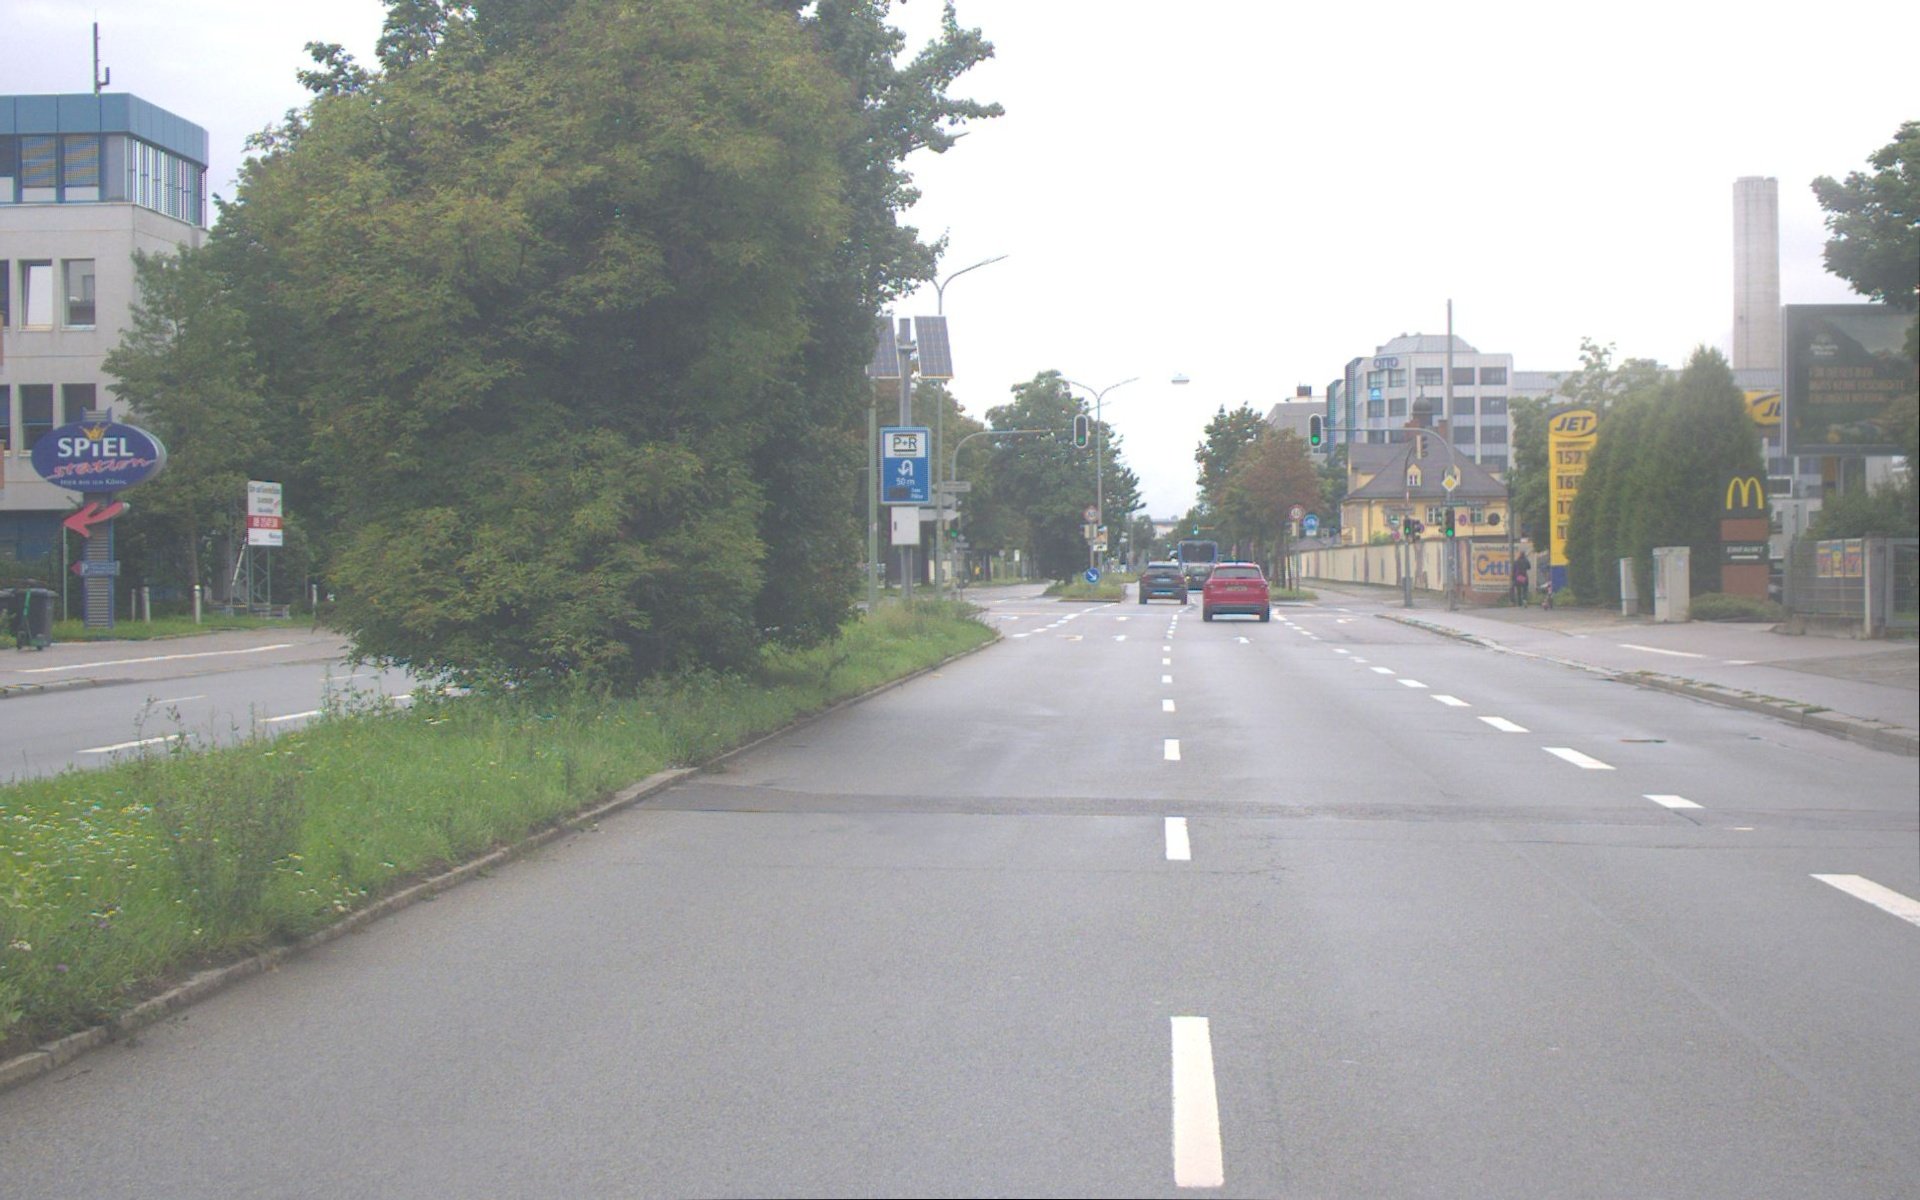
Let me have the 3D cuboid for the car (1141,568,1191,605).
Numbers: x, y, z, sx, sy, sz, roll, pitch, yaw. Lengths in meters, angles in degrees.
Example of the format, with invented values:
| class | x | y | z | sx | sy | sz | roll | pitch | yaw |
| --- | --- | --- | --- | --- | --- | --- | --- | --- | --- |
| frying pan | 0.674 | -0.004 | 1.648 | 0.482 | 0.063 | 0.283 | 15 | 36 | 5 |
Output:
| class | x | y | z | sx | sy | sz | roll | pitch | yaw |
| --- | --- | --- | --- | --- | --- | --- | --- | --- | --- |
| car | 8.076 | -0.541 | 135.033 | 1.803 | 1.428 | 4.000 | -1 | 1 | 2 |

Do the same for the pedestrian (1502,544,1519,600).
| class | x | y | z | sx | sy | sz | roll | pitch | yaw |
| --- | --- | --- | --- | --- | --- | --- | --- | --- | --- |
| pedestrian | 16.034 | -0.819 | 100.141 | 0.483 | 1.630 | 0.590 | 0 | 0 | 7 |

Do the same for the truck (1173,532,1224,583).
| class | x | y | z | sx | sy | sz | roll | pitch | yaw |
| --- | --- | --- | --- | --- | --- | --- | --- | --- | --- |
| truck | 15.448 | -2.741 | 223.380 | 2.969 | 3.274 | 7.915 | 0 | 1 | 2 |

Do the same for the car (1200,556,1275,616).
| class | x | y | z | sx | sy | sz | roll | pitch | yaw |
| --- | --- | --- | --- | --- | --- | --- | --- | --- | --- |
| car | 7.590 | -0.387 | 94.295 | 1.862 | 1.612 | 4.000 | 0 | 0 | 2 |
